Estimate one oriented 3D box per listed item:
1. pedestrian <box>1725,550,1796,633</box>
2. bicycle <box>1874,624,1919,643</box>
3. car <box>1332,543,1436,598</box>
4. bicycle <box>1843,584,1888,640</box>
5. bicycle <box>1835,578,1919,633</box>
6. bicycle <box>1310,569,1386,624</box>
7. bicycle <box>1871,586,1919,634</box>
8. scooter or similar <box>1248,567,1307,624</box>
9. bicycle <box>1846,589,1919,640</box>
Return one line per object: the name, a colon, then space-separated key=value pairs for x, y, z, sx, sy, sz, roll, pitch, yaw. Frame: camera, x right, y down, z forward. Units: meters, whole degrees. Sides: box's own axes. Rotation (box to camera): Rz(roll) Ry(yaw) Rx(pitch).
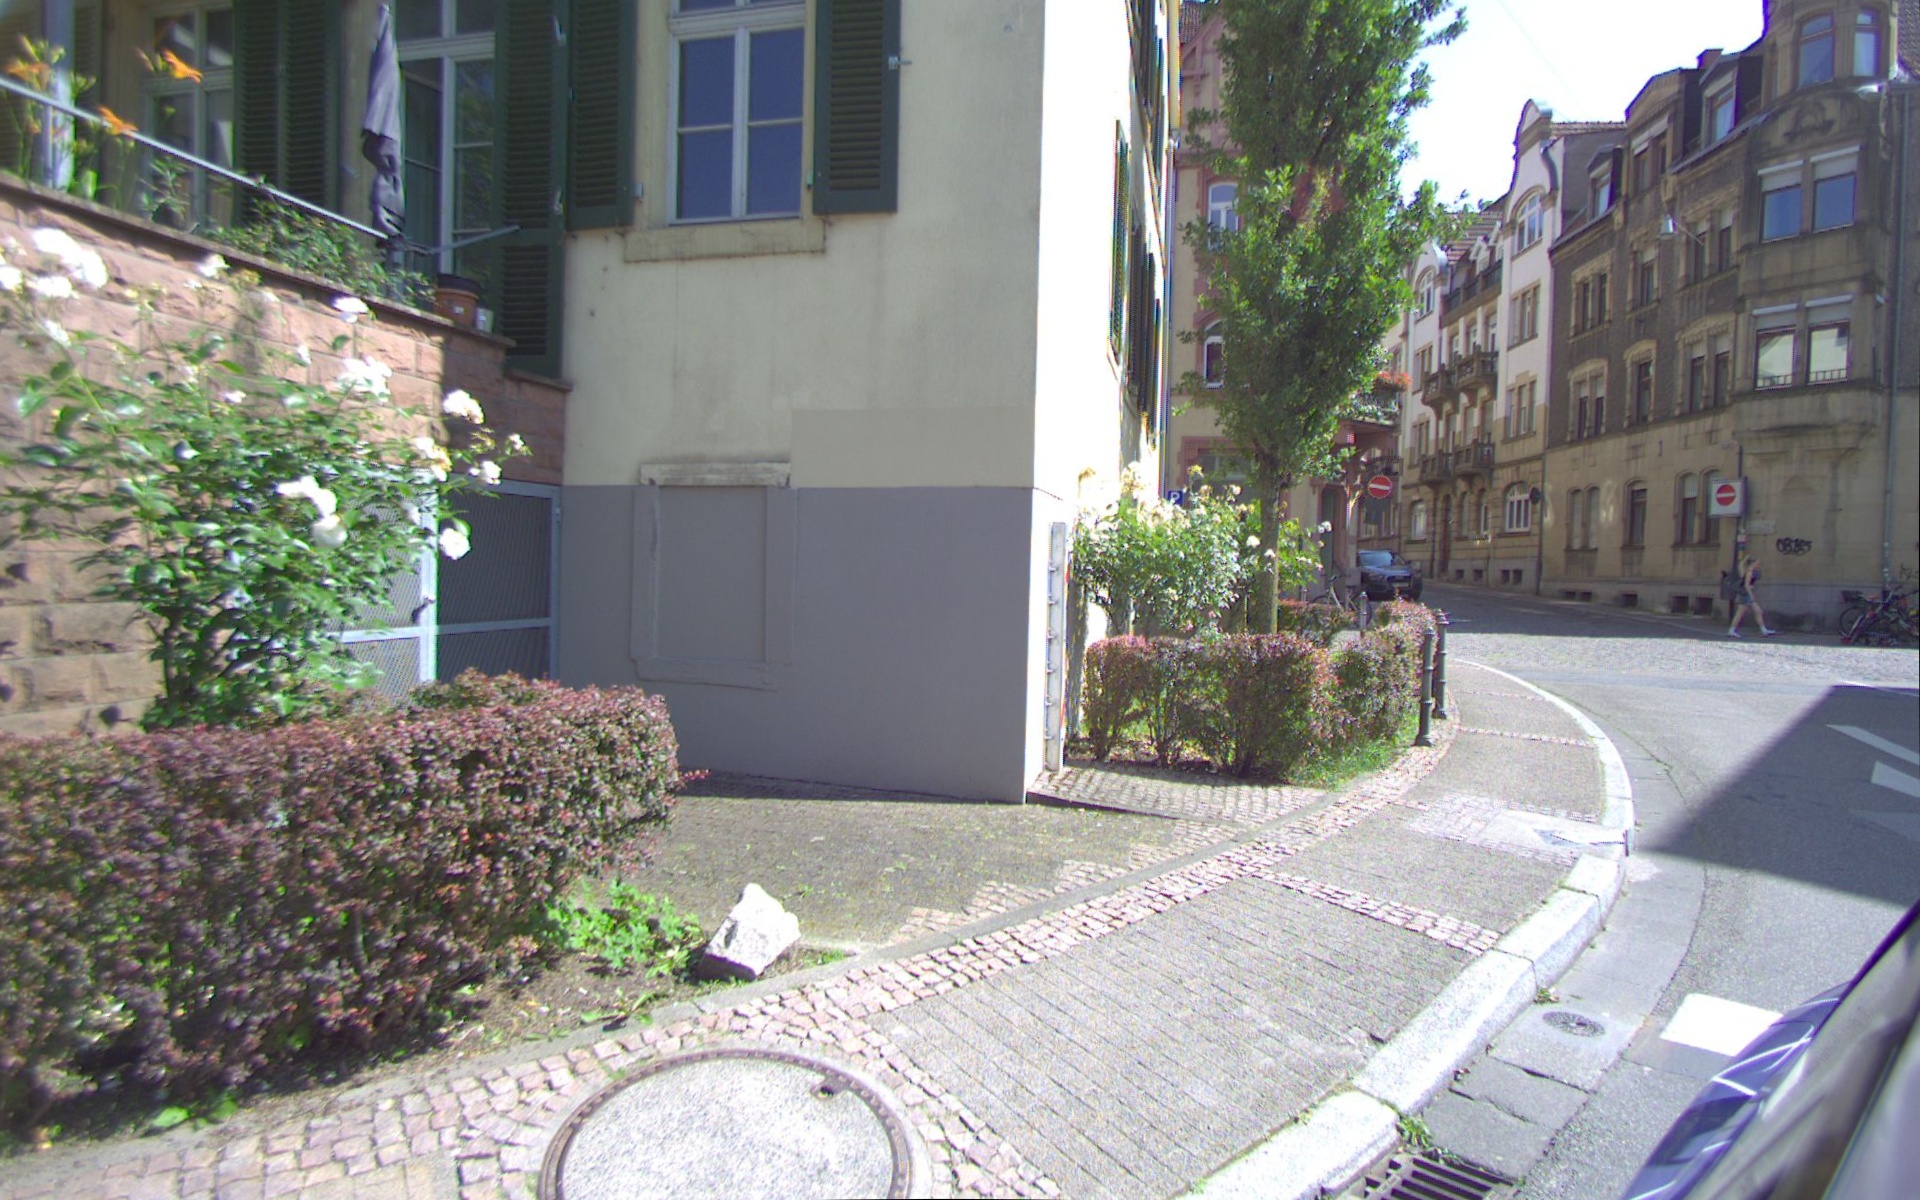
pedestrian: x=17.848 y=-0.196 z=22.588 sx=0.966 sy=1.778 sz=0.621 roll=1 pitch=5 yaw=14
bicycle: x=19.257 y=0.692 z=20.340 sx=1.069 sy=0.291 sz=1.113 roll=3 pitch=3 yaw=29
car: x=13.785 y=-1.033 z=33.191 sx=1.829 sy=1.601 sz=4.259 roll=0 pitch=4 yaw=4
bicycle: x=18.688 y=0.229 z=20.903 sx=0.283 sy=1.099 sz=1.626 roll=-1 pitch=1 yaw=28
bicycle: x=20.518 y=0.120 z=22.375 sx=1.618 sy=1.098 sz=0.494 roll=2 pitch=6 yaw=15
bicycle: x=8.882 y=-0.091 z=23.242 sx=0.495 sy=1.160 sz=1.798 roll=1 pitch=3 yaw=-22
bicycle: x=19.785 y=0.243 z=20.673 sx=0.285 sy=1.080 sz=1.642 roll=-42 pitch=0 yaw=4
scooter or similar: x=7.192 y=-0.115 z=22.959 sx=1.168 sy=1.250 sz=0.442 roll=1 pitch=2 yaw=1
bicycle: x=19.298 y=0.301 z=20.725 sx=0.285 sy=1.080 sz=1.642 roll=-42 pitch=0 yaw=4
